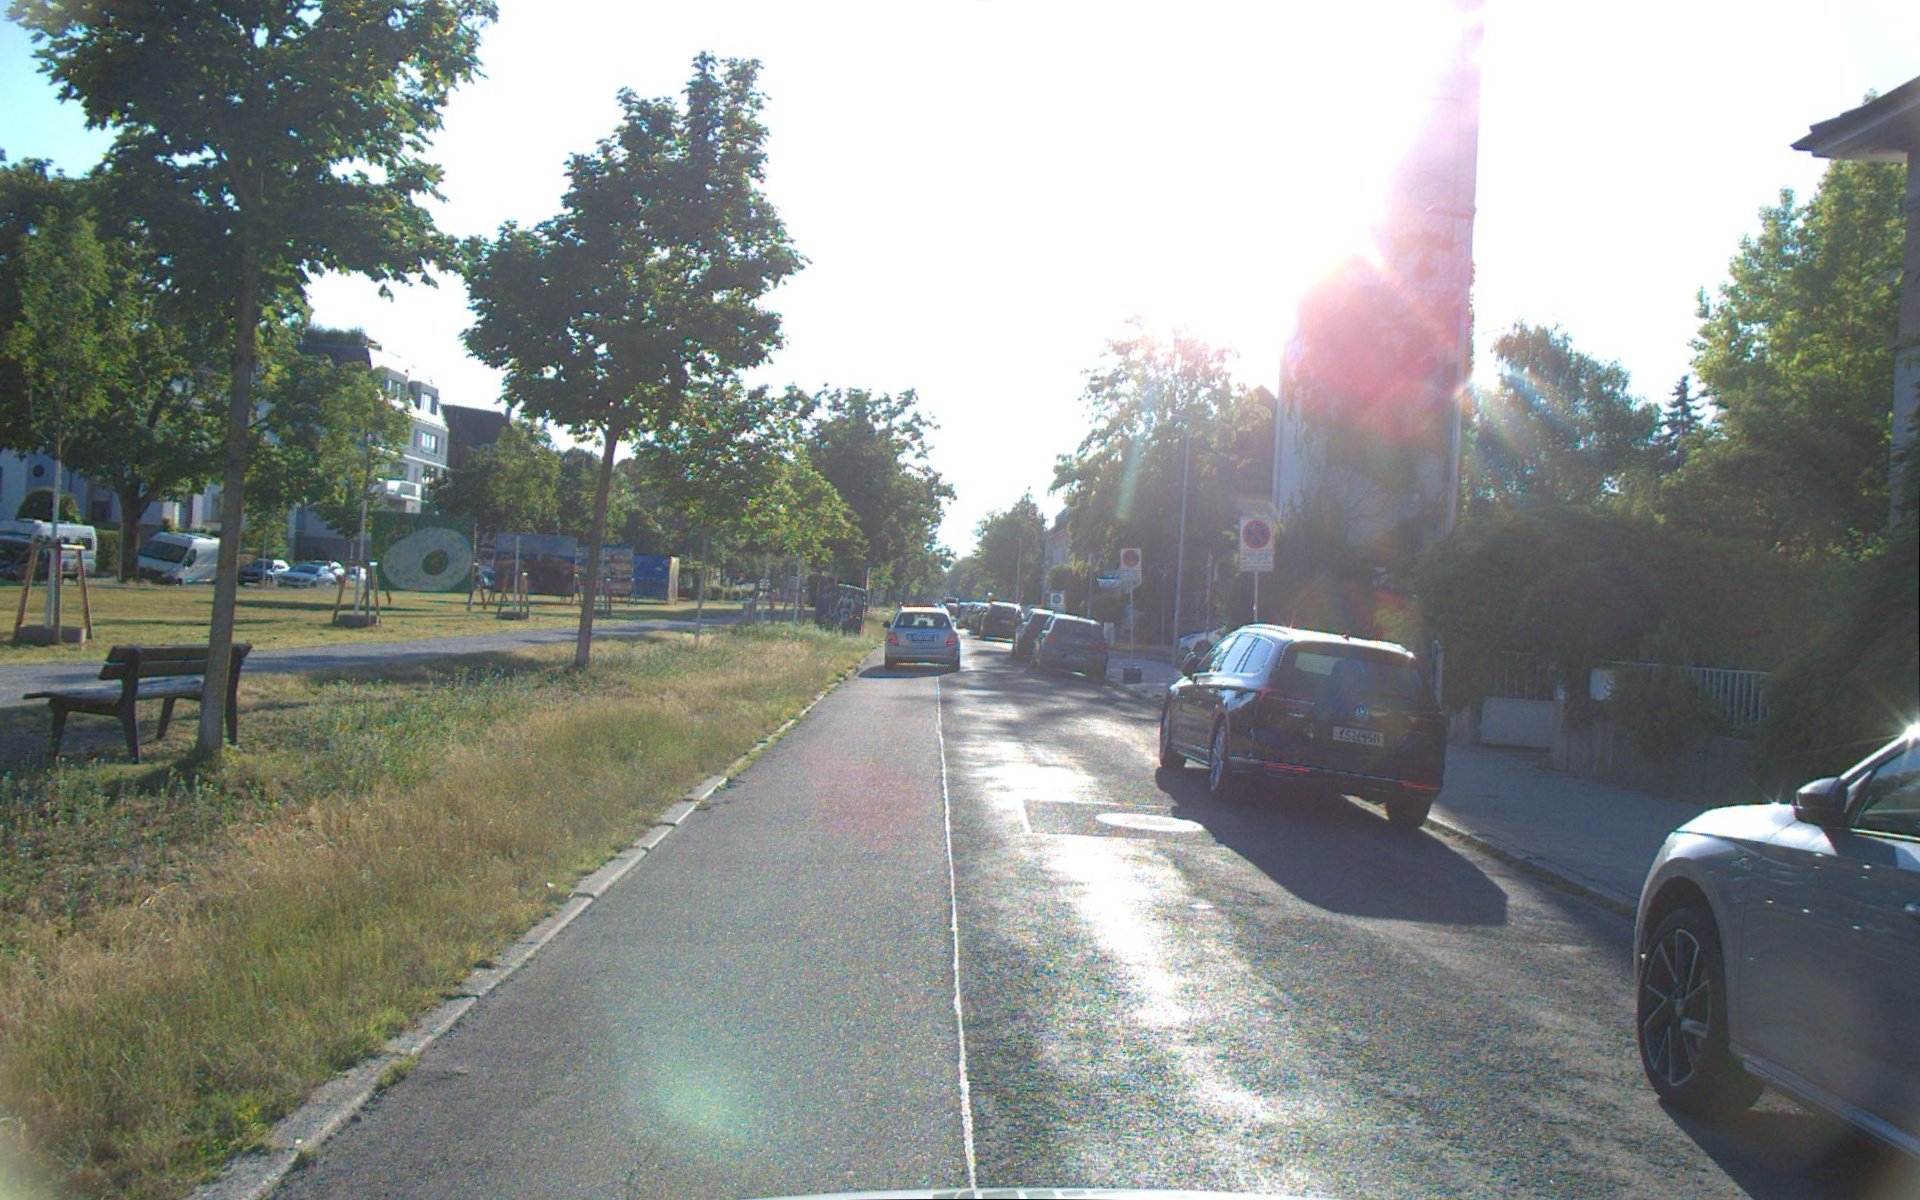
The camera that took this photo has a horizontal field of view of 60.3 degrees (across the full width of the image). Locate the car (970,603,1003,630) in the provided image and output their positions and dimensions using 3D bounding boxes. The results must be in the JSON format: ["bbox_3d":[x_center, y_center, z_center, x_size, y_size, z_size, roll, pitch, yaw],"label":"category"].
[{"bbox_3d":[1.639,1.006,103.577,1.953,1.487,4.561,5,0,0],"label":"car"}]

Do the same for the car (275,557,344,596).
[{"bbox_3d":[-34.622,-1.228,88.156,1.796,1.933,4.642,0,-1,0],"label":"car"}]

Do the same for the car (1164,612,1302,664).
[{"bbox_3d":[10.214,1.440,61.994,4.750,1.512,2.001,4,-4,-2],"label":"car"}]

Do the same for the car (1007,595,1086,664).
[{"bbox_3d":[2.427,0.807,47.435,1.787,1.587,4.621,9,0,0],"label":"car"}]

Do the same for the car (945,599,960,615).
[{"bbox_3d":[-1.013,0.944,232.256,1.948,2.058,3.999,3,0,0],"label":"car"}]

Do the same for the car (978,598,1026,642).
[{"bbox_3d":[1.873,0.908,75.800,1.796,1.761,5.030,6,-1,-1],"label":"car"}]

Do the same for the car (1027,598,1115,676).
[{"bbox_3d":[2.656,0.849,40.383,1.654,1.553,4.174,7,1,-1],"label":"car"}]

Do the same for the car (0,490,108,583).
[{"bbox_3d":[-39.700,-2.664,71.549,2.256,3.621,6.763,0,-1,-1],"label":"car"}]

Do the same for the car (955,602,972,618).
[{"bbox_3d":[0.340,1.069,174.062,1.686,1.625,3.999,3,-1,0],"label":"car"}]

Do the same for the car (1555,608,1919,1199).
[{"bbox_3d":[3.300,0.907,4.245,1.846,1.562,4.461,7,-1,1],"label":"car"}]

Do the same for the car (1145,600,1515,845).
[{"bbox_3d":[3.101,0.969,15.058,1.955,1.624,4.884,8,-1,-2],"label":"car"}]

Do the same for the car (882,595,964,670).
[{"bbox_3d":[-0.834,0.721,38.870,1.786,1.594,4.000,2,0,0],"label":"car"}]

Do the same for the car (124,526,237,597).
[{"bbox_3d":[-34.083,-1.632,72.538,2.214,2.875,5.870,0,-1,-1],"label":"car"}]

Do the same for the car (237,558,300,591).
[{"bbox_3d":[-40.339,-1.475,96.553,1.745,1.732,4.665,0,-1,-1],"label":"car"}]

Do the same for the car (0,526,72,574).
[{"bbox_3d":[-33.622,-1.793,59.203,1.386,1.591,4.308,4,0,-2],"label":"car"}]
